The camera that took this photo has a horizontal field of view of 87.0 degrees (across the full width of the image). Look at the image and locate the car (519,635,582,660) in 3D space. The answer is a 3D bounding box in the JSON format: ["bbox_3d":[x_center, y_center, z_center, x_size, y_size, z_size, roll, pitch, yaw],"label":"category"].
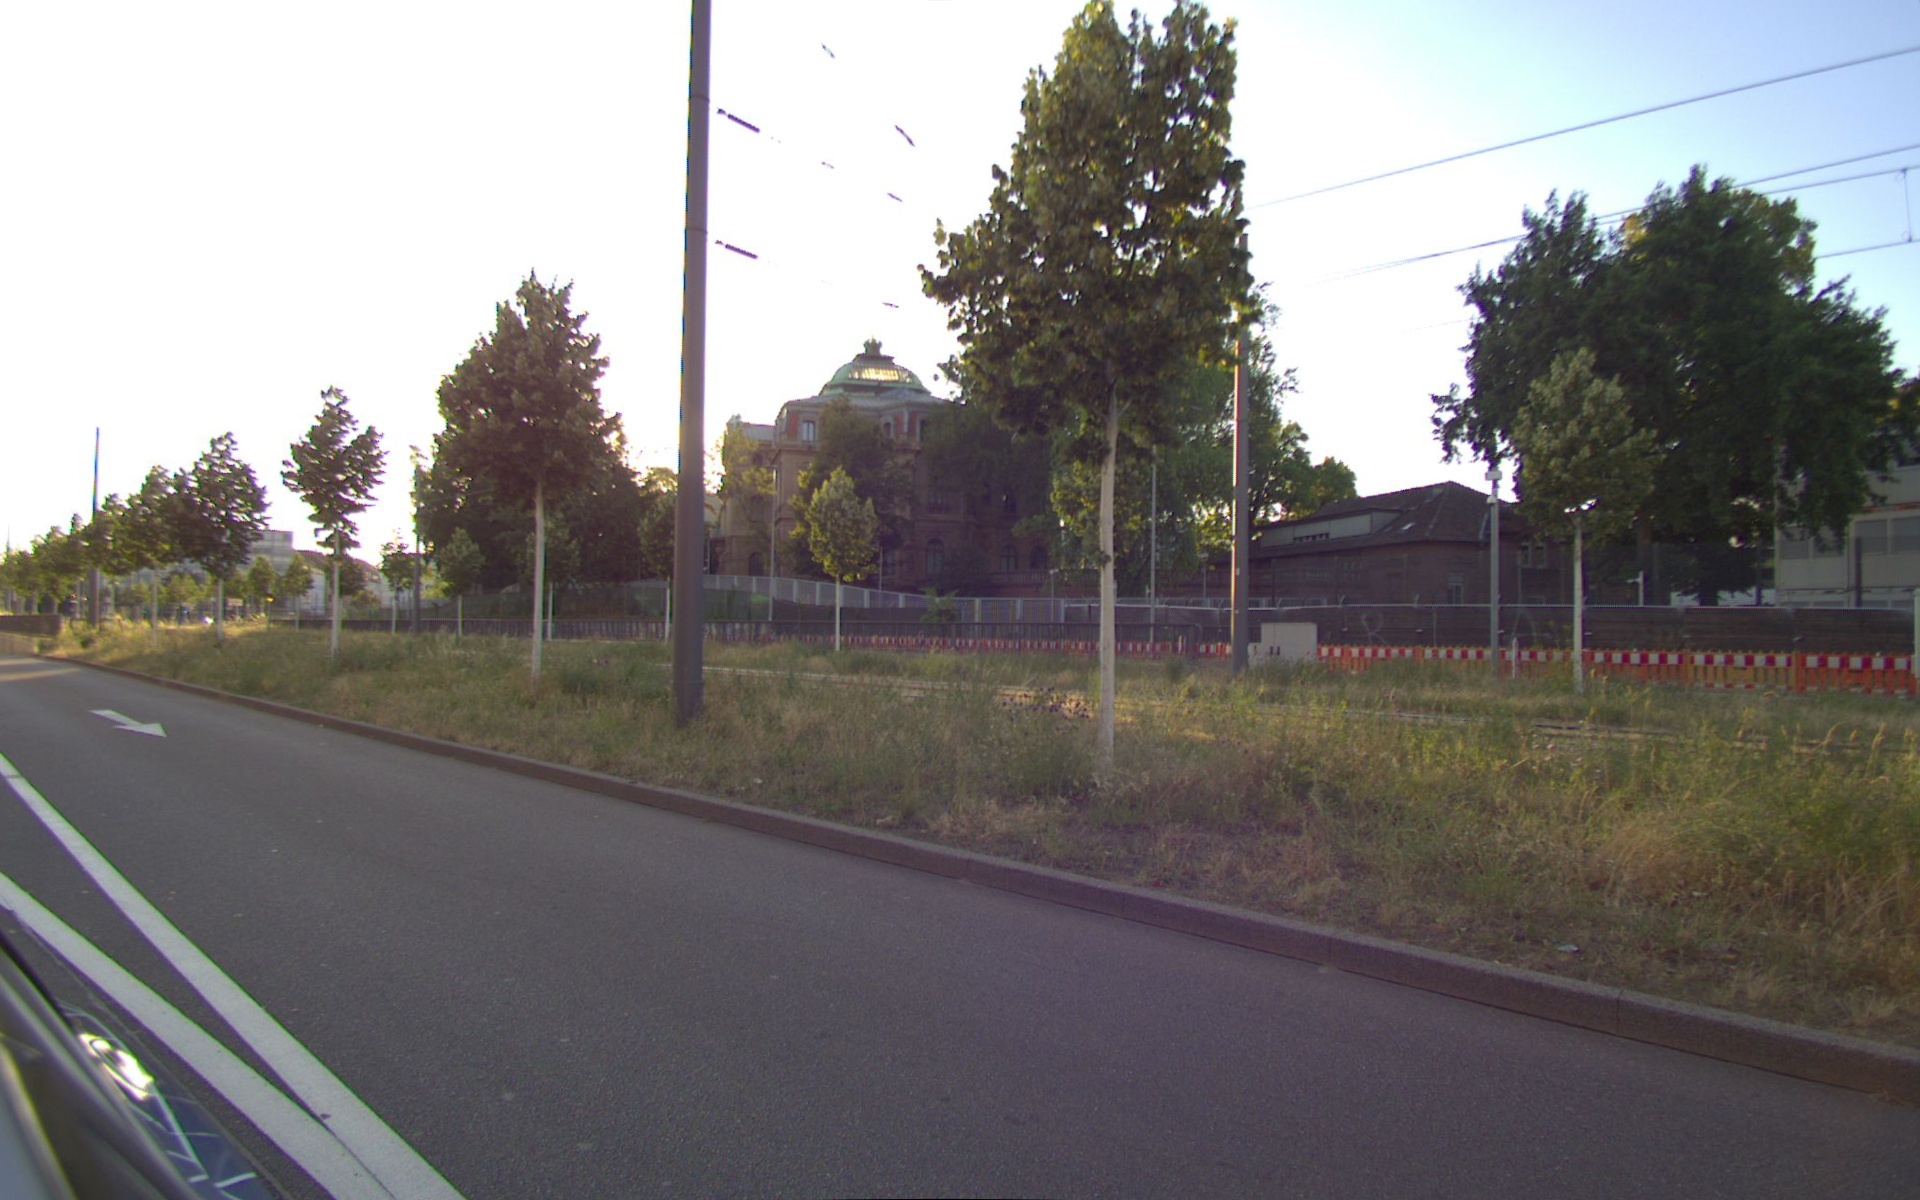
[{"bbox_3d":[-25.646,2.958,63.311,4.521,1.492,1.911,-3,-2,42],"label":"car"}]
